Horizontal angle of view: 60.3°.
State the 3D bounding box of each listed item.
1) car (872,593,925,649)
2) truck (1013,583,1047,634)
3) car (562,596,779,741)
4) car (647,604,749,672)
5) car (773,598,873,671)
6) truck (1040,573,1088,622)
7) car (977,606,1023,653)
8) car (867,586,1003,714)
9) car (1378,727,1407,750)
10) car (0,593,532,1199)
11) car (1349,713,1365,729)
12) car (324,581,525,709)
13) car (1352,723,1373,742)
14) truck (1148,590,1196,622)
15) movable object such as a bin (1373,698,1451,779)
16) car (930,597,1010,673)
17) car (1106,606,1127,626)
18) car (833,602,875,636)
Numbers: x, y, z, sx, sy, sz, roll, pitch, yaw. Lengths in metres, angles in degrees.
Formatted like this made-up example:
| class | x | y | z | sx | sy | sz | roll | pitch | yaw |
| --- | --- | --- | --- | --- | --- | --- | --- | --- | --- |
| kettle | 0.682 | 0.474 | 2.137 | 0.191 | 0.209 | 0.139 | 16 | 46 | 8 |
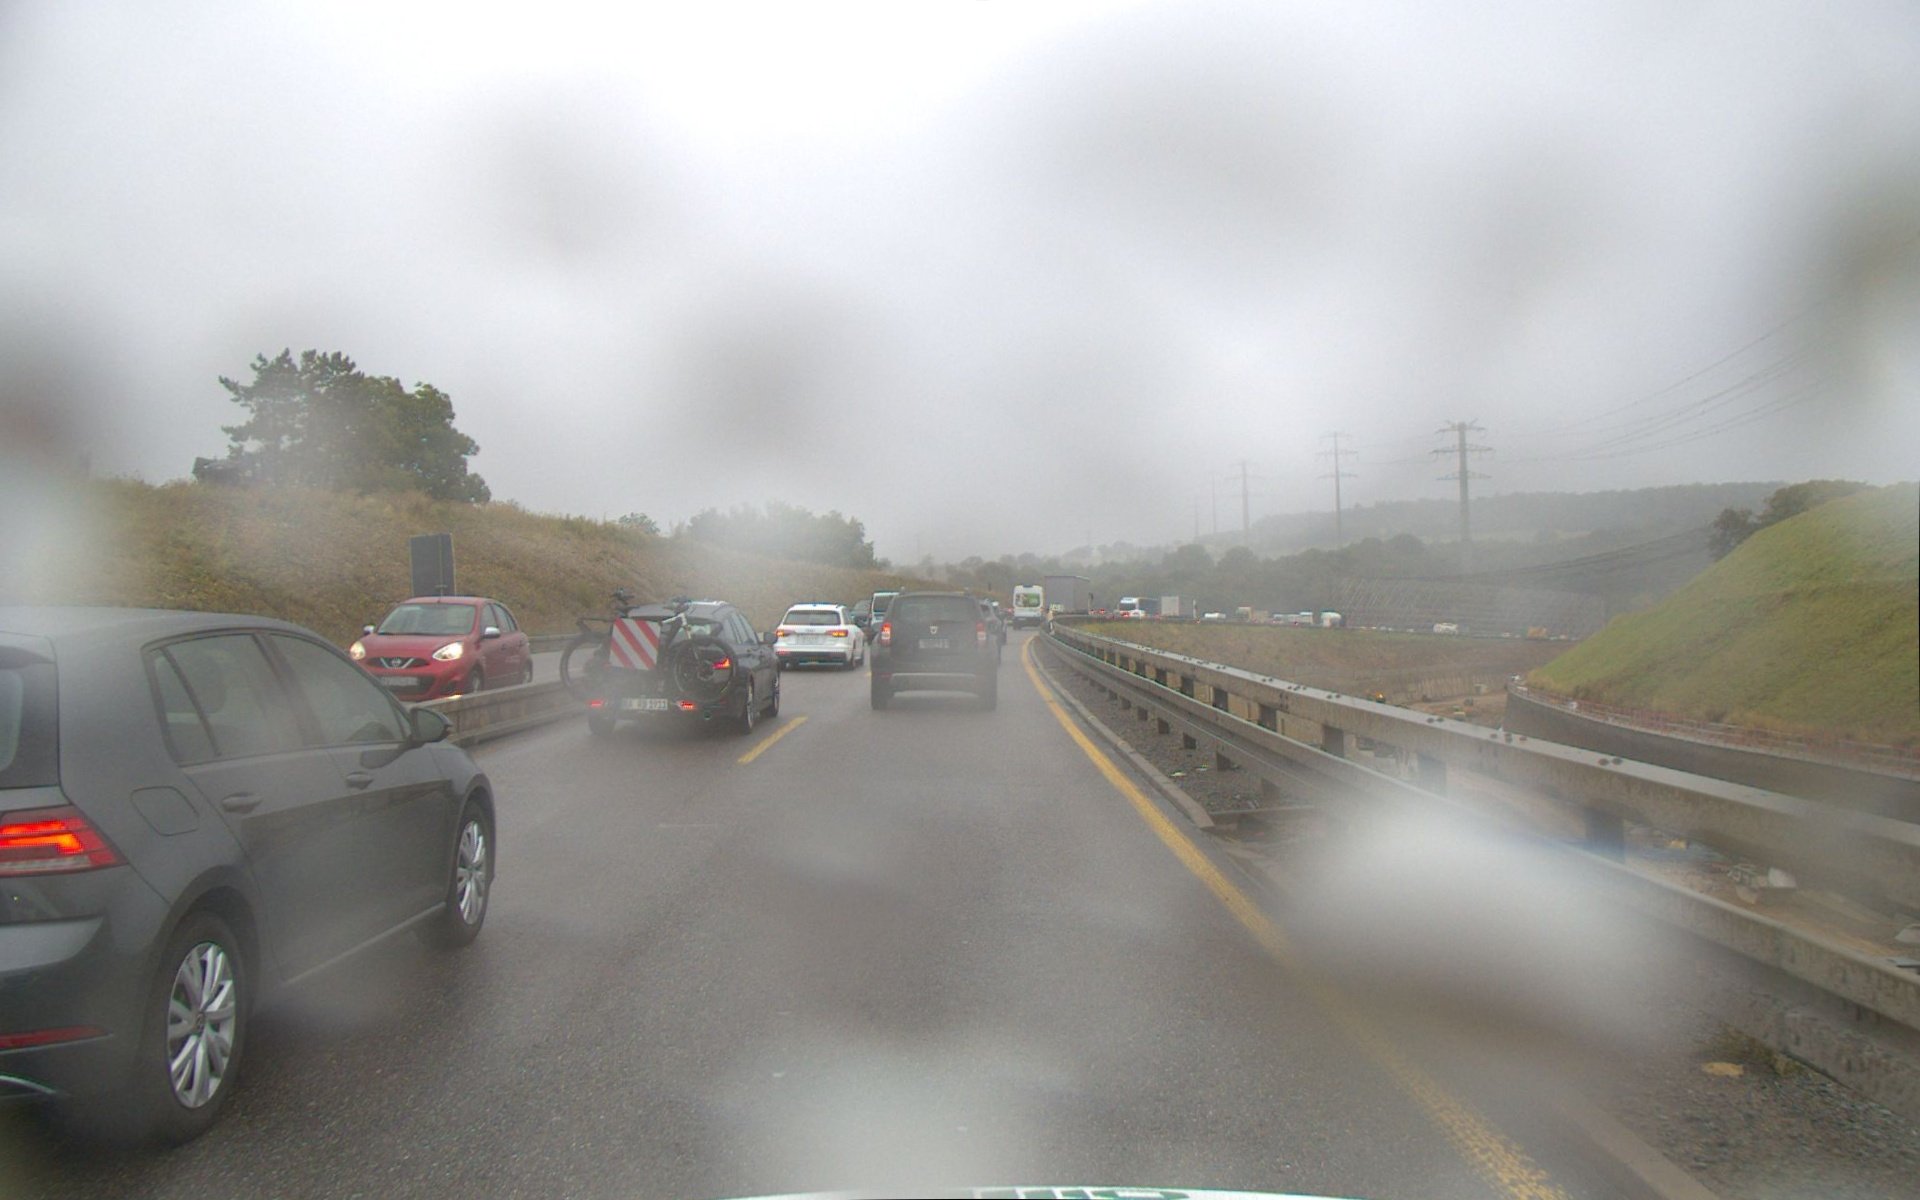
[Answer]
| class | x | y | z | sx | sy | sz | roll | pitch | yaw |
| --- | --- | --- | --- | --- | --- | --- | --- | --- | --- |
| car | -2.185 | 0.734 | 59.709 | 1.626 | 1.913 | 4.020 | 1 | 0 | 1 |
| truck | 4.523 | 0.555 | 107.736 | 2.105 | 3.221 | 6.460 | 1 | 0 | 2 |
| car | -3.231 | 0.733 | 19.188 | 1.791 | 1.502 | 3.776 | 0 | -1 | 1 |
| car | -6.740 | 0.948 | 43.081 | 2.004 | 1.661 | 4.987 | 0 | -1 | -2 |
| car | -3.012 | 0.739 | 37.221 | 1.829 | 1.486 | 4.548 | 1 | 0 | 0 |
| truck | 8.554 | -0.154 | 135.297 | 3.132 | 3.827 | 8.516 | 1 | 0 | 8 |
| car | 1.463 | 1.071 | 61.840 | 1.499 | 1.669 | 4.011 | 1 | 0 | -1 |
| car | -0.281 | 0.674 | 23.786 | 1.767 | 1.675 | 3.777 | 0 | -1 | 2 |
| car | 45.267 | 14.516 | 173.183 | 2.315 | 2.049 | 4.002 | 1 | 0 | 5 |
| car | -2.783 | 0.779 | 5.625 | 1.581 | 1.532 | 4.367 | -1 | 0 | -1 |
| car | 59.191 | 18.070 | 246.405 | 1.952 | 2.049 | 4.002 | 1 | 0 | 18 |
| car | -7.257 | 0.586 | 22.762 | 1.692 | 1.605 | 3.719 | 0 | -1 | -3 |
| car | 46.413 | 15.265 | 190.821 | 1.951 | 1.848 | 4.003 | 1 | -1 | 7 |
| truck | 30.120 | 0.942 | 233.904 | 4.617 | 4.222 | 15.693 | 1 | 0 | 15 |
| movable object such as a bin | 24.775 | 7.546 | 90.871 | 3.147 | 3.934 | 4.123 | 2 | 1 | 2 |
| car | 0.267 | 0.820 | 40.663 | 1.829 | 1.738 | 4.000 | 1 | 0 | 1 |
| car | 15.338 | 1.564 | 161.985 | 1.737 | 1.949 | 4.003 | 1 | 0 | 8 |
| car | -5.315 | 0.941 | 83.325 | 1.774 | 1.621 | 4.901 | -1 | 0 | 0 |
